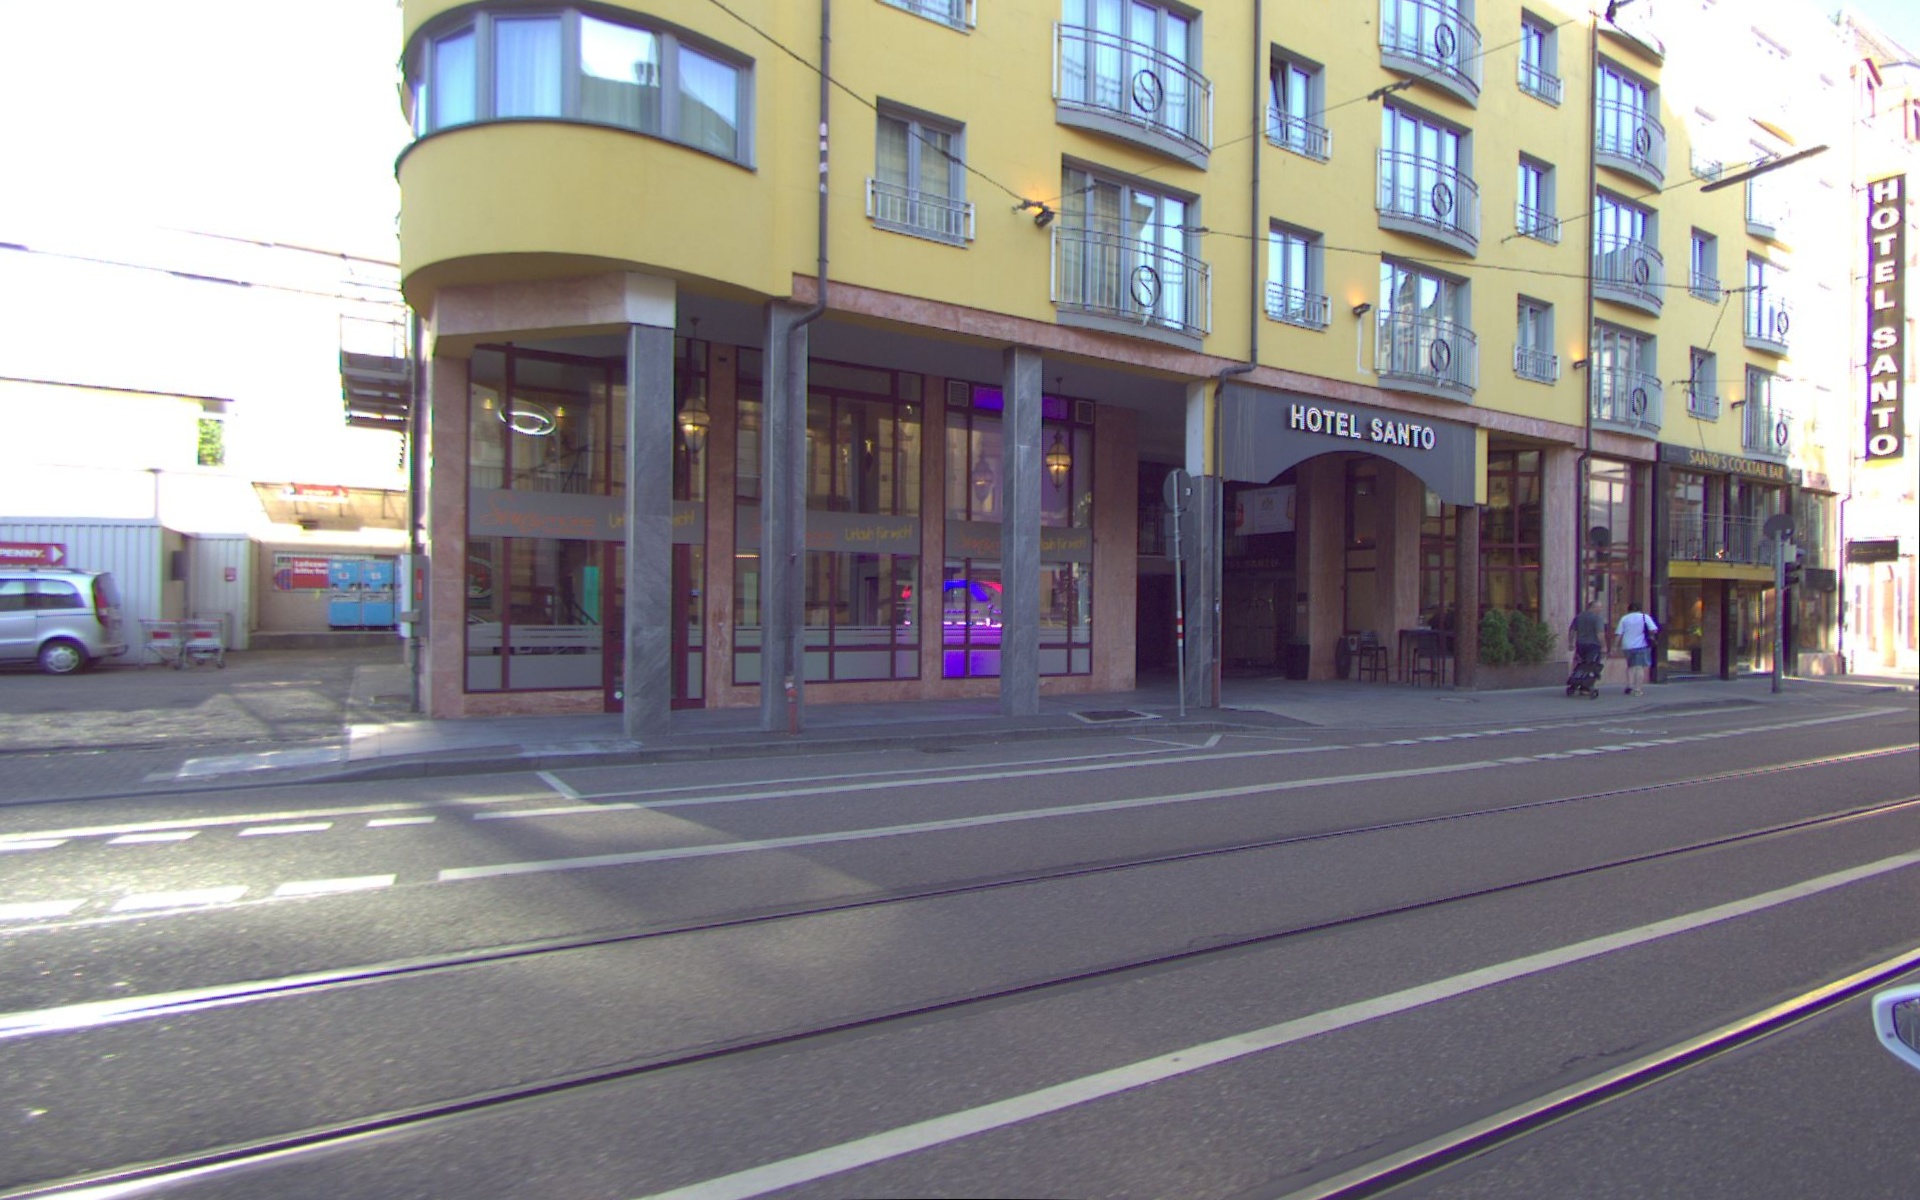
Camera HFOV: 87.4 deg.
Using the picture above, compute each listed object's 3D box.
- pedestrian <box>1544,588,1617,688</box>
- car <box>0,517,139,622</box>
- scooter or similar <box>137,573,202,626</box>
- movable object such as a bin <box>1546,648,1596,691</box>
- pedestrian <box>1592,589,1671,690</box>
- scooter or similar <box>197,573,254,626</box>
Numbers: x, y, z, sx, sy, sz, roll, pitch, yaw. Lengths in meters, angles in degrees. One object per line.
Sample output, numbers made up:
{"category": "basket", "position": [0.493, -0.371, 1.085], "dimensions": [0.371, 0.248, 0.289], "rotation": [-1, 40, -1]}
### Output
{"category": "pedestrian", "position": [11.865, 0.709, 19.208], "dimensions": [0.741, 1.795, 0.793], "rotation": [1, 5, -31]}
{"category": "car", "position": [-17.115, -0.530, 17.509], "dimensions": [4.076, 1.759, 1.982], "rotation": [1, 0, -33]}
{"category": "scooter or similar", "position": [-15.101, -0.005, 19.216], "dimensions": [0.839, 0.967, 1.279], "rotation": [1, 0, -33]}
{"category": "movable object such as a bin", "position": [11.292, 1.280, 18.572], "dimensions": [0.831, 0.726, 0.381], "rotation": [1, 5, -30]}
{"category": "pedestrian", "position": [12.904, 0.742, 19.300], "dimensions": [1.034, 1.843, 0.747], "rotation": [1, 5, -31]}
{"category": "scooter or similar", "position": [-14.390, -0.010, 19.699], "dimensions": [0.800, 0.997, 1.262], "rotation": [1, 0, -33]}
